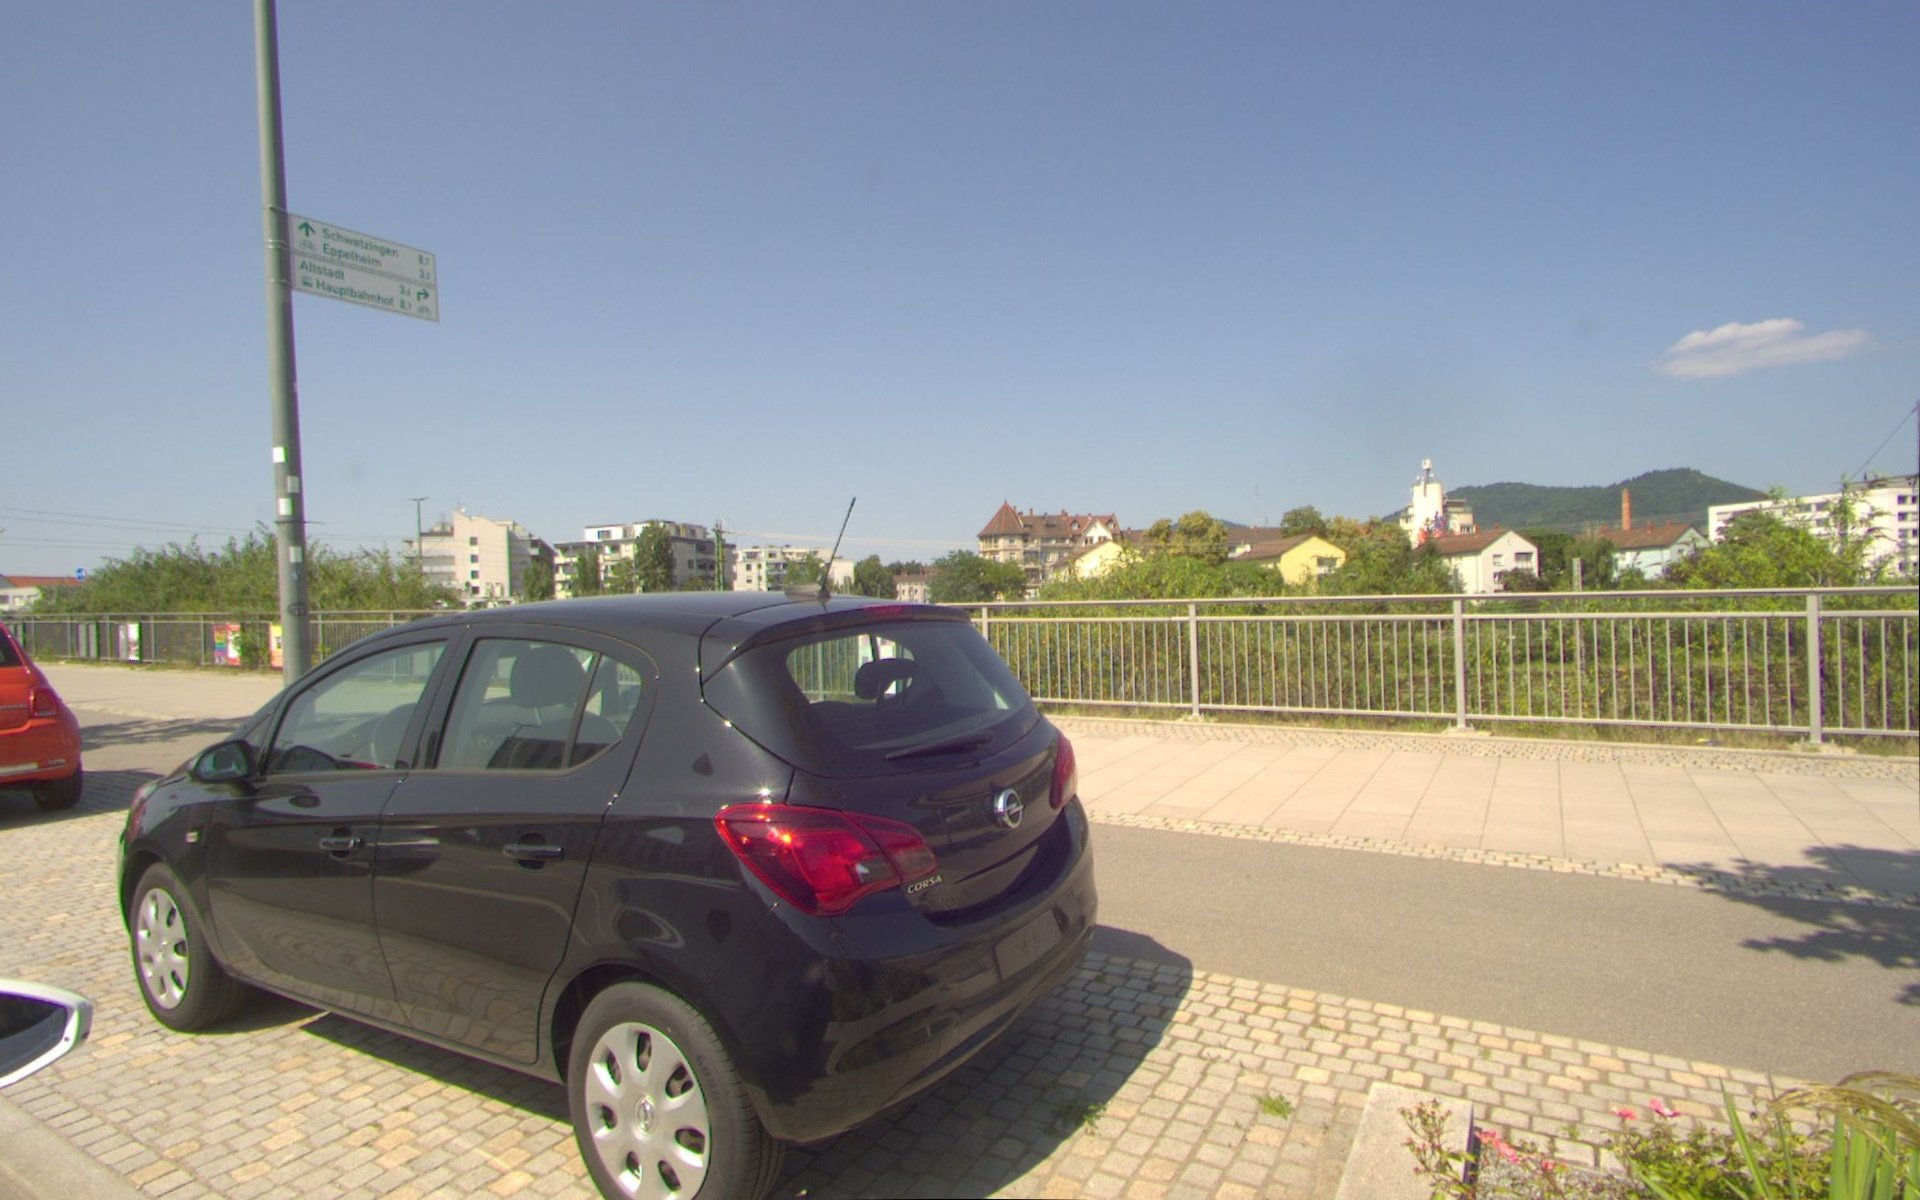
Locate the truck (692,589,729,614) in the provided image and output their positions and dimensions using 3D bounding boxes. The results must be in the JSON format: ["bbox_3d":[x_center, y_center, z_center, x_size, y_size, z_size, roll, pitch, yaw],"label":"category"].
[{"bbox_3d":[-27.927,0.248,112.199,1.963,2.572,4.707,-1,-2,14],"label":"truck"}]

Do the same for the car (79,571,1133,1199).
[{"bbox_3d":[-1.345,0.742,3.484,3.495,1.577,1.577,-1,2,32],"label":"car"}]

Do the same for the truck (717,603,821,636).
[{"bbox_3d":[-21.276,2.354,113.648,3.674,3.243,17.876,-1,-3,17],"label":"truck"}]

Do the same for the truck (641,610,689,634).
[{"bbox_3d":[-32.037,2.430,108.991,2.081,2.396,5.866,-1,-2,19],"label":"truck"}]

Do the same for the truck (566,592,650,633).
[{"bbox_3d":[-29.688,1.145,84.784,3.672,3.244,6.485,-1,-2,17],"label":"truck"}]

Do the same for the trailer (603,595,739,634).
[{"bbox_3d":[-26.765,1.550,94.568,3.674,3.243,17.244,-1,-3,17],"label":"trailer"}]

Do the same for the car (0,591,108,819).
[{"bbox_3d":[-8.357,0.744,7.790,3.863,1.561,1.664,0,2,35],"label":"car"}]
